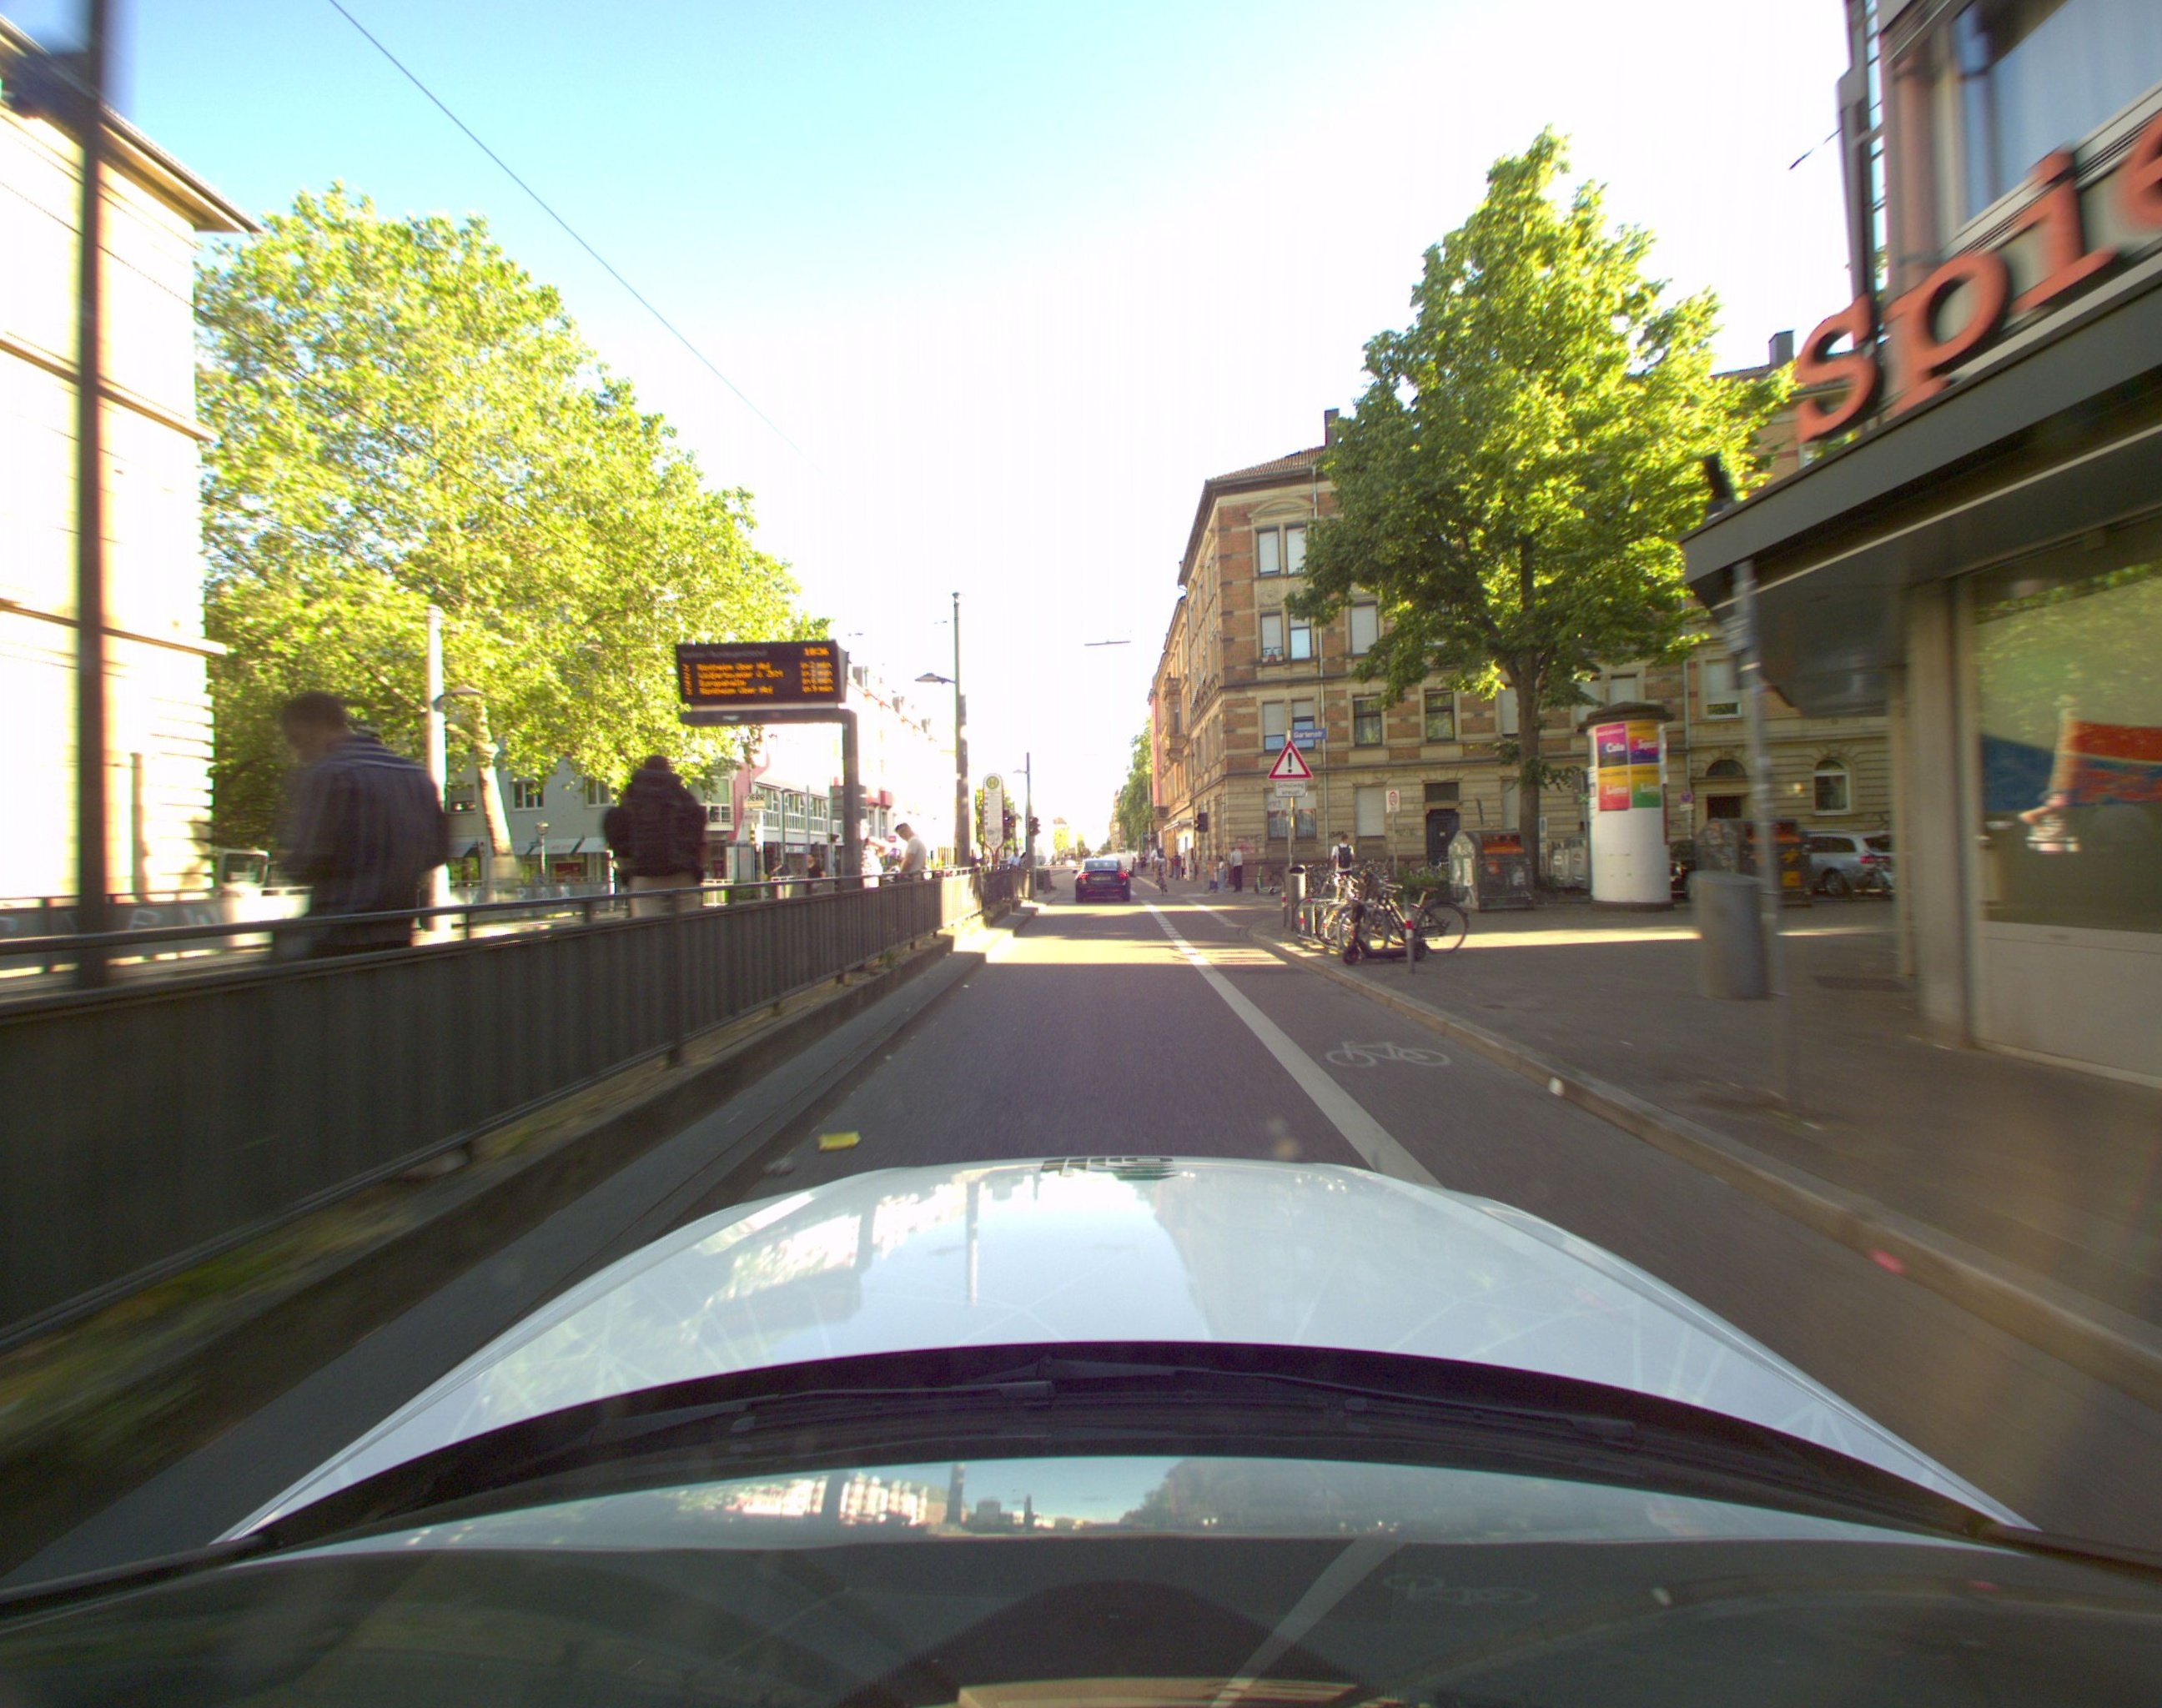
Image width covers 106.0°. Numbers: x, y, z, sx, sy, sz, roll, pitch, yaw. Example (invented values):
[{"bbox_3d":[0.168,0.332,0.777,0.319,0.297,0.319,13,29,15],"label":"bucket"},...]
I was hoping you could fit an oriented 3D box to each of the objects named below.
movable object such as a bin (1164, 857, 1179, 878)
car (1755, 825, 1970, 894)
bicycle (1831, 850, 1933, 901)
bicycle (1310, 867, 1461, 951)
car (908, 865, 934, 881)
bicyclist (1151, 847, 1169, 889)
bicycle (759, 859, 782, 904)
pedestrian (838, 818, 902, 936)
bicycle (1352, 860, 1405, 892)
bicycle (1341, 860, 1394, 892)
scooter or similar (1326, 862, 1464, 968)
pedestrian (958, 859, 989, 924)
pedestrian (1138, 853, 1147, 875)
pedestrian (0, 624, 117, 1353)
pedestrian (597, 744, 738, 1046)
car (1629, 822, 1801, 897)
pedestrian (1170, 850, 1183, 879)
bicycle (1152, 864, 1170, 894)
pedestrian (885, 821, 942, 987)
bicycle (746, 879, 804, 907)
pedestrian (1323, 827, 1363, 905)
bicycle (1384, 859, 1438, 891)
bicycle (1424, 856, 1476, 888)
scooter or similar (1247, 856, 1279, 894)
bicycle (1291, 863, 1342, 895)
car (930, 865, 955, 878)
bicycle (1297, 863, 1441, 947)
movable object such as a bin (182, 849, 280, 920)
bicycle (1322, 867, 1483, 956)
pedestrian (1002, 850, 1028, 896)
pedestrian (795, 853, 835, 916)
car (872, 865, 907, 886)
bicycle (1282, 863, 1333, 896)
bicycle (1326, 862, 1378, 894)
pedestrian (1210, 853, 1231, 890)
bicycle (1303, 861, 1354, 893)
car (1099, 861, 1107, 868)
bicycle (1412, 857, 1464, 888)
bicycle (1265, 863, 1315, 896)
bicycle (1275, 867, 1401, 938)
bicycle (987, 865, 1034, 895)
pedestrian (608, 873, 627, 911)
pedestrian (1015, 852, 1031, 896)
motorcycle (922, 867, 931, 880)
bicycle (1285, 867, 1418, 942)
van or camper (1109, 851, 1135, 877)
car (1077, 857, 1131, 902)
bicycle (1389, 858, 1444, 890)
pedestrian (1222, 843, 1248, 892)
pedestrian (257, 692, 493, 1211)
[{"bbox_3d":[5.948,0.875,53.516,0.773,1.347,1.299,-1,-1,0],"label":"movable object such as a bin"},{"bbox_3d":[17.906,0.109,18.958,1.978,1.396,4.018,-2,0,17],"label":"car"},{"bbox_3d":[15.926,0.398,16.262,0.646,0.947,2.012,-2,0,20],"label":"bicycle"},{"bbox_3d":[4.362,0.773,11.725,1.940,1.107,0.564,-2,-1,-1],"label":"bicycle"},{"bbox_3d":[-15.597,1.810,79.552,1.746,1.475,4.204,-2,-1,-2],"label":"car"},{"bbox_3d":[3.150,0.547,32.560,0.652,1.656,0.928,-1,-1,4],"label":"bicyclist"},{"bbox_3d":[-12.091,1.074,31.716,0.639,1.716,0.587,-2,-1,40],"label":"bicycle"},{"bbox_3d":[-3.211,0.340,12.418,0.760,1.734,0.590,-2,-1,1],"label":"pedestrian"},{"bbox_3d":[10.819,0.801,29.626,0.446,1.115,1.793,-1,-1,-40],"label":"bicycle"},{"bbox_3d":[10.319,0.794,29.405,0.446,1.115,1.793,-1,-1,-40],"label":"bicycle"},{"bbox_3d":[4.003,0.765,10.459,1.473,1.229,0.592,-4,-1,1],"label":"scooter or similar"},{"bbox_3d":[-2.226,0.772,16.836,0.475,1.329,0.356,-2,0,30],"label":"pedestrian"},{"bbox_3d":[5.136,0.820,68.261,0.670,1.814,0.756,-1,-1,0],"label":"pedestrian"},{"bbox_3d":[-2.694,0.304,1.759,0.492,1.648,0.590,-1,-1,0],"label":"pedestrian"},{"bbox_3d":[-2.779,0.253,5.478,0.775,1.831,0.796,1,-1,-29],"label":"pedestrian"},{"bbox_3d":[15.236,0.143,19.882,1.978,1.603,4.018,-2,-1,17],"label":"car"},{"bbox_3d":[5.760,0.617,49.021,0.464,1.728,0.591,-2,0,37],"label":"pedestrian"},{"bbox_3d":[3.156,0.983,32.402,0.644,1.139,2.098,-1,-1,4],"label":"bicycle"},{"bbox_3d":[-2.230,0.645,10.919,0.536,2.120,0.807,-2,-1,0],"label":"pedestrian"},{"bbox_3d":[-11.876,1.490,31.709,0.639,0.966,2.183,-2,0,30],"label":"bicycle"},{"bbox_3d":[6.819,0.303,21.198,0.932,1.985,0.722,-1,-1,20],"label":"pedestrian"},{"bbox_3d":[11.815,0.753,29.199,0.446,1.115,1.793,-1,-1,-40],"label":"bicycle"},{"bbox_3d":[13.574,0.669,30.031,0.446,1.115,1.797,-1,-1,-31],"label":"bicycle"},{"bbox_3d":[6.380,0.739,28.599,0.391,1.289,1.515,-2,0,-14],"label":"scooter or similar"},{"bbox_3d":[8.457,0.903,29.278,0.446,1.115,1.793,-1,-1,-40],"label":"bicycle"},{"bbox_3d":[-15.418,1.959,90.836,1.953,1.325,4.820,0,-1,0],"label":"car"},{"bbox_3d":[4.357,0.756,12.380,1.940,1.166,0.628,-2,-1,-1],"label":"bicycle"},{"bbox_3d":[-25.235,0.897,24.171,2.617,2.014,1.182,-2,-1,24],"label":"movable object such as a bin"},{"bbox_3d":[4.361,0.762,11.111,1.940,1.107,0.564,-2,-1,-1],"label":"bicycle"},{"bbox_3d":[-2.637,0.741,32.589,0.587,1.821,0.948,0,-1,34],"label":"pedestrian"},{"bbox_3d":[-7.244,0.821,22.240,0.693,1.668,1.033,-2,-1,2],"label":"pedestrian"},{"bbox_3d":[-15.777,1.734,67.302,1.912,1.614,4.367,-2,-1,-2],"label":"car"},{"bbox_3d":[8.060,0.899,29.016,0.446,1.115,1.793,-1,-1,-39],"label":"bicycle"},{"bbox_3d":[9.731,0.849,29.288,0.446,1.115,1.793,-1,-1,-40],"label":"bicycle"},{"bbox_3d":[5.375,0.678,31.360,0.576,1.414,0.576,0,-1,-23],"label":"pedestrian"},{"bbox_3d":[8.929,0.844,29.472,0.446,1.115,1.793,-1,-1,-40],"label":"bicycle"},{"bbox_3d":[5.111,2.431,188.318,1.587,1.433,3.688,-2,-1,2],"label":"car"},{"bbox_3d":[13.070,0.672,29.857,0.446,1.115,1.797,-1,-1,-31],"label":"bicycle"},{"bbox_3d":[7.425,0.897,29.028,0.446,1.115,1.793,-1,-1,-39],"label":"bicycle"},{"bbox_3d":[4.329,0.804,13.788,1.940,1.107,0.564,-2,-1,-1],"label":"bicycle"},{"bbox_3d":[-2.843,1.028,32.645,1.920,1.094,0.602,1,-1,35],"label":"bicycle"},{"bbox_3d":[-20.435,1.648,35.887,0.693,1.636,0.669,-1,-1,-32],"label":"pedestrian"},{"bbox_3d":[-2.160,0.744,30.453,0.517,1.590,0.665,2,-1,-8],"label":"pedestrian"},{"bbox_3d":[-16.725,2.095,88.264,0.517,1.297,2.082,0,0,1],"label":"motorcycle"},{"bbox_3d":[4.345,0.795,13.140,1.940,1.107,0.564,-2,-1,-1],"label":"bicycle"},{"bbox_3d":[3.299,0.863,66.862,1.924,2.037,5.475,0,-1,1],"label":"van or camper"},{"bbox_3d":[0.759,0.828,27.832,1.714,1.405,3.709,0,0,0],"label":"car"},{"bbox_3d":[12.154,0.720,29.536,0.446,1.115,1.793,-1,-1,-40],"label":"bicycle"},{"bbox_3d":[5.839,0.496,30.954,0.843,1.807,0.877,-2,0,6],"label":"pedestrian"},{"bbox_3d":[-2.480,0.314,2.902,0.350,1.669,0.529,-1,-1,0],"label":"pedestrian"}]
